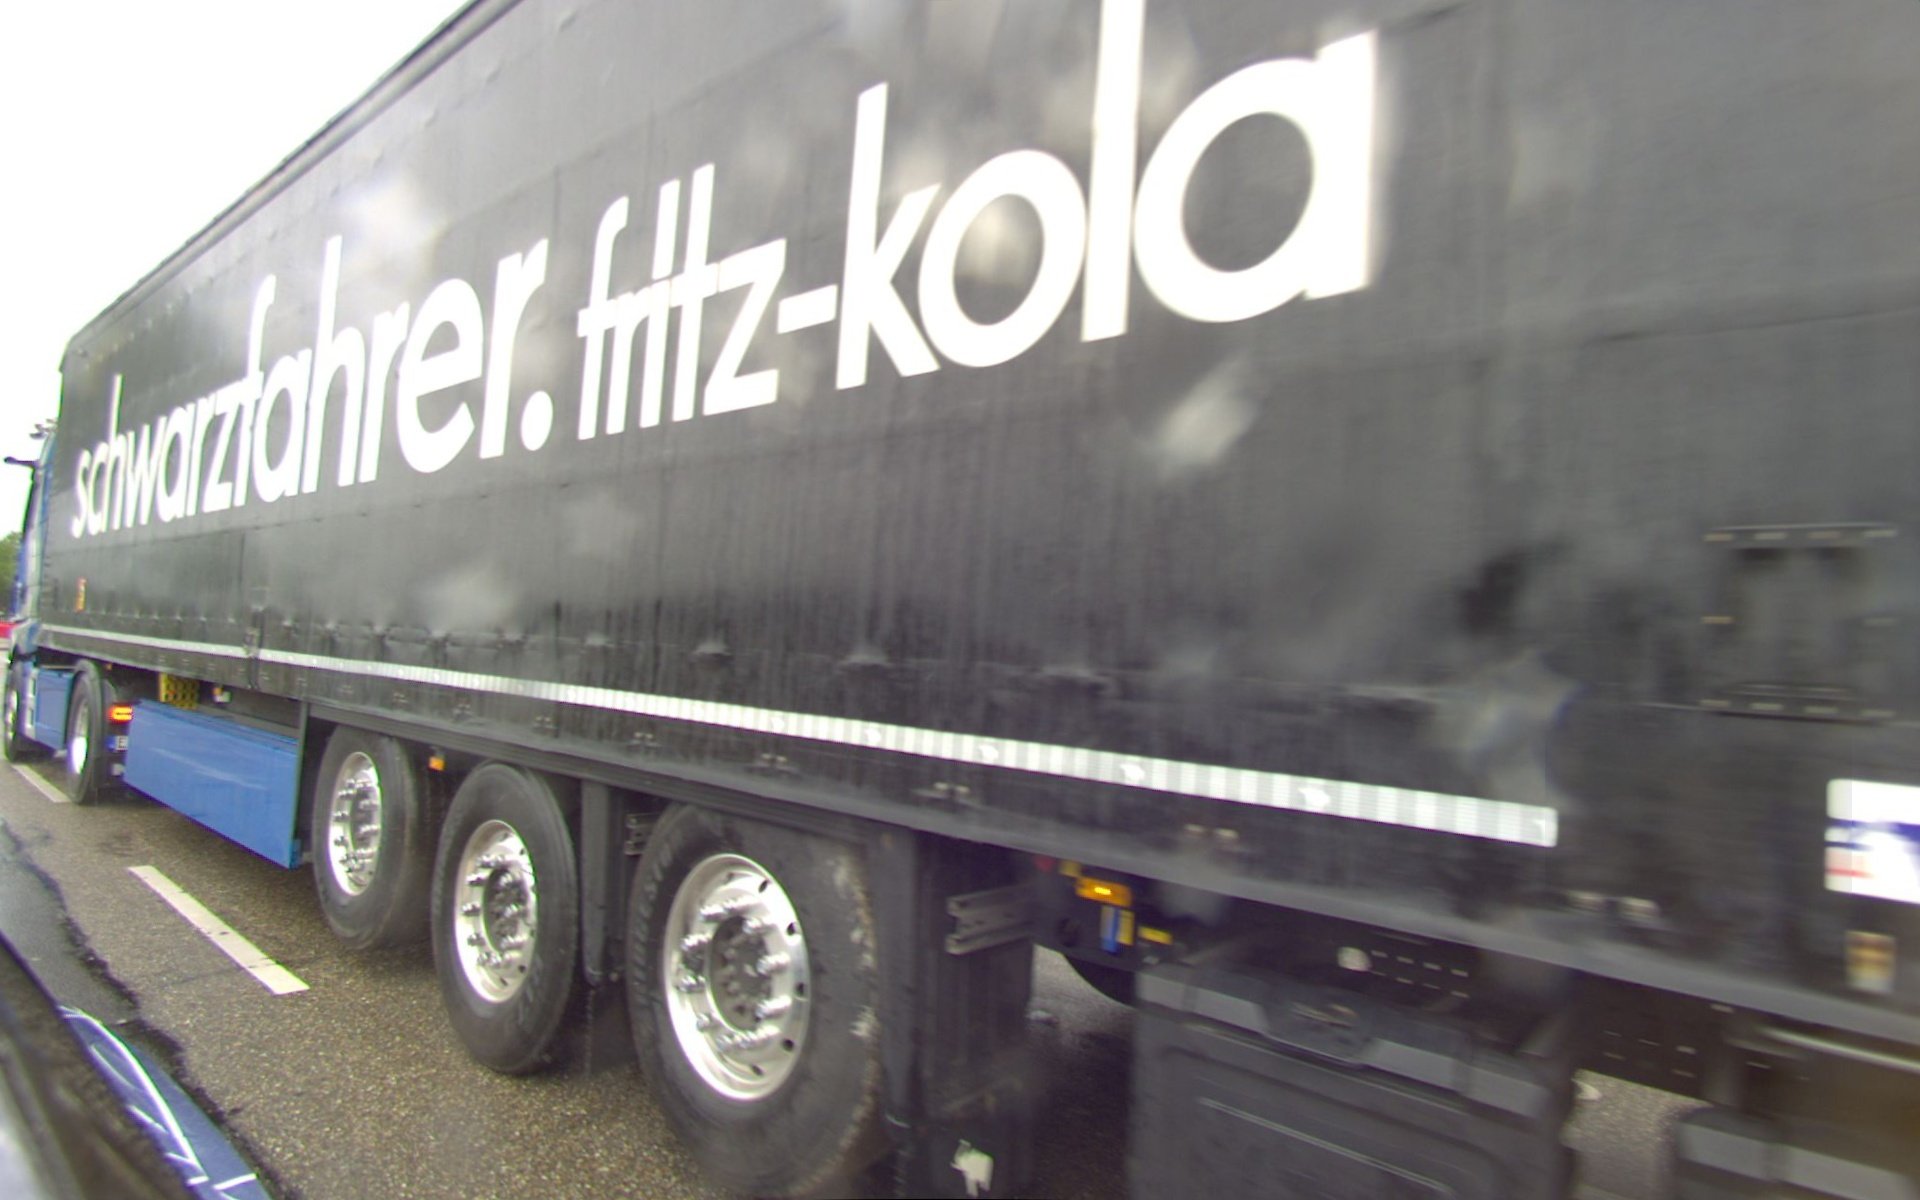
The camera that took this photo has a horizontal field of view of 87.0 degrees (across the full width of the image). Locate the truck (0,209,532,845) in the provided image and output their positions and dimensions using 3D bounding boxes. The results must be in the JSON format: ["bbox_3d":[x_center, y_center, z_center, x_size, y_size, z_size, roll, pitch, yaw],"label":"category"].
[{"bbox_3d":[-7.623,-0.455,10.640,6.029,4.689,3.260,-1,-3,40],"label":"truck"}]

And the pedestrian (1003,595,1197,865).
[{"bbox_3d":[0.997,0.858,7.192,1.026,1.731,0.899,-1,-3,41],"label":"pedestrian"}]

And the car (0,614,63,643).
[{"bbox_3d":[-46.984,1.408,50.462,3.971,1.392,1.732,0,-3,21],"label":"car"}]

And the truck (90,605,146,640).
[{"bbox_3d":[-66.431,1.757,79.811,6.972,2.639,2.063,-1,-4,40],"label":"truck"}]

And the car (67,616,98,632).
[{"bbox_3d":[-100.882,2.748,116.366,3.995,1.654,1.974,-1,-3,39],"label":"car"}]

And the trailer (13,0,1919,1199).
[{"bbox_3d":[-2.463,-0.425,6.069,13.728,4.689,3.259,-1,-3,42],"label":"trailer"}]
